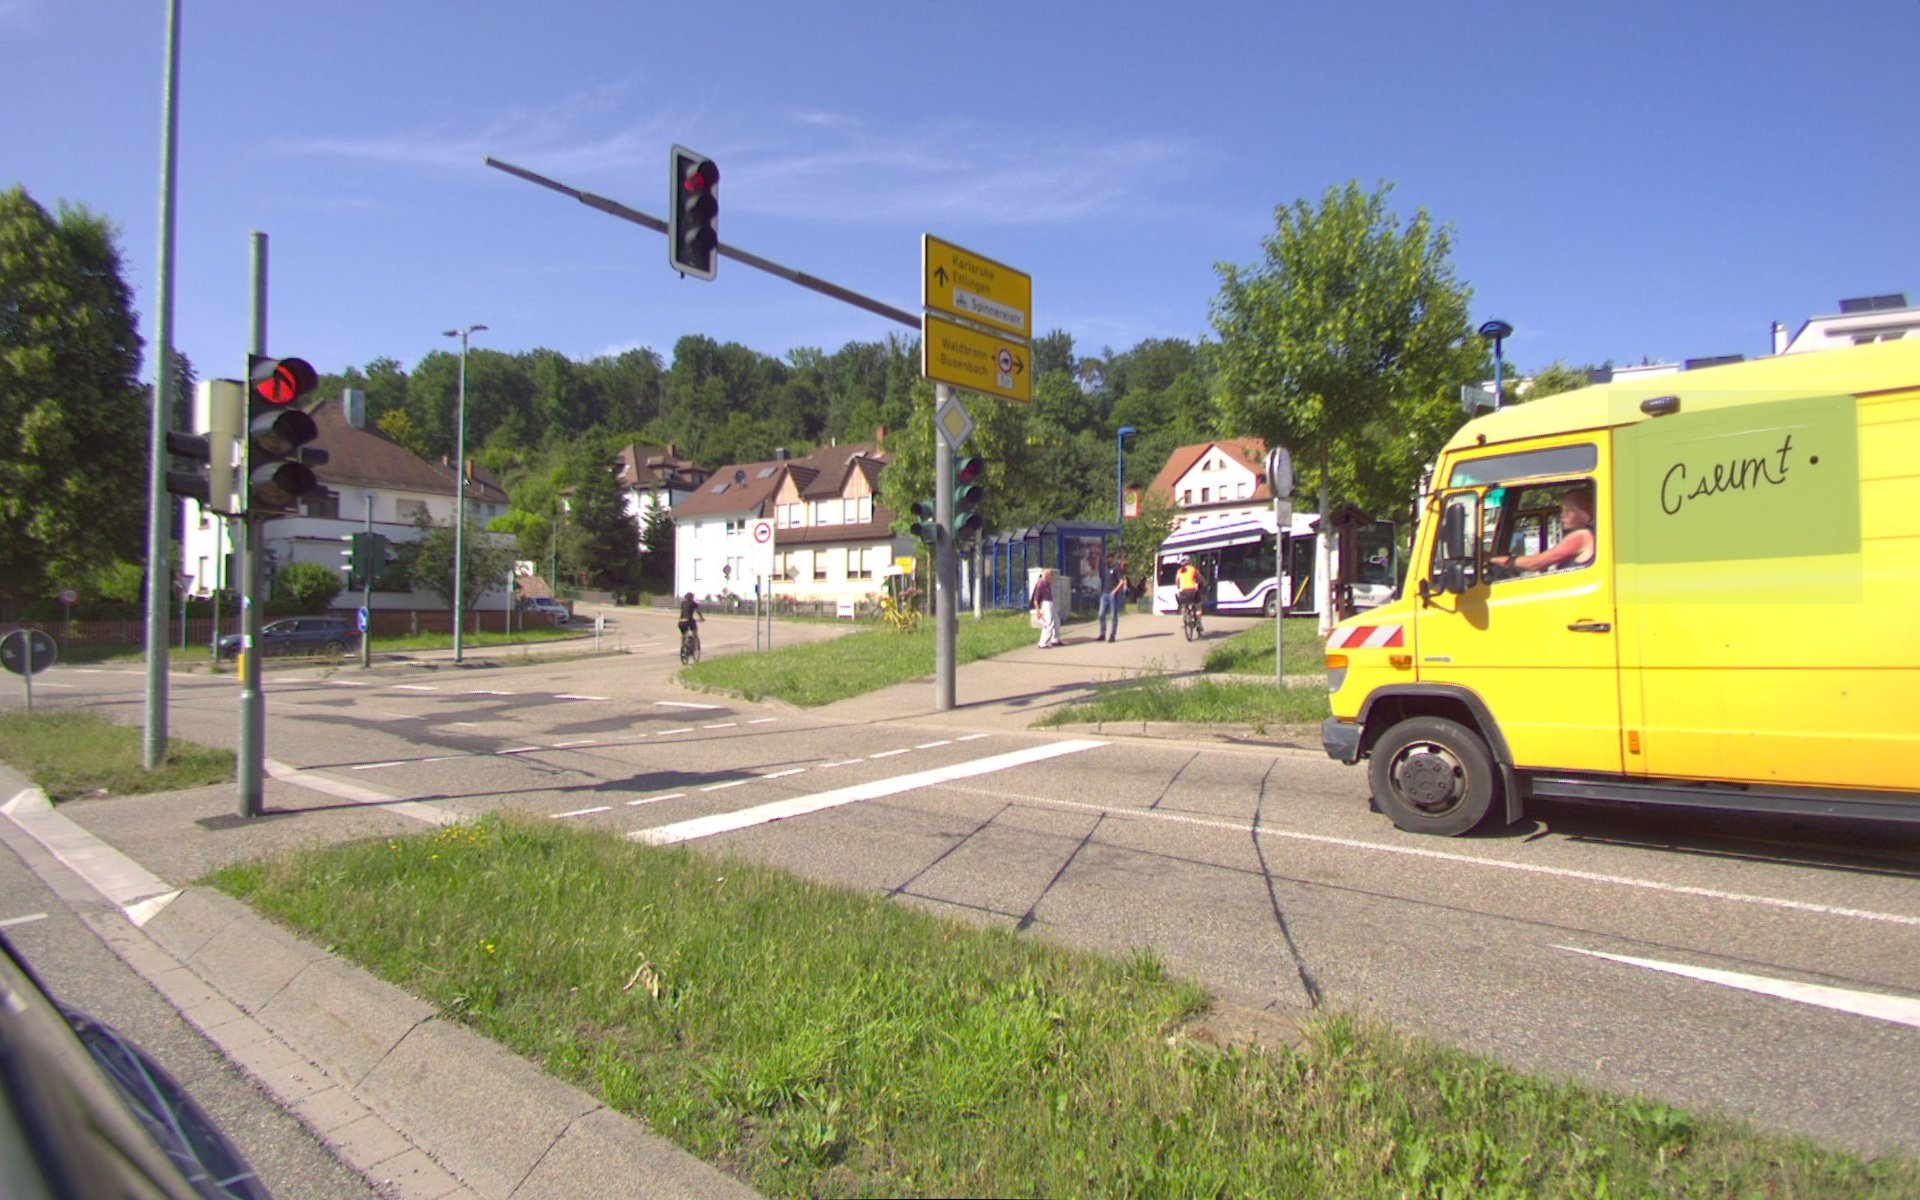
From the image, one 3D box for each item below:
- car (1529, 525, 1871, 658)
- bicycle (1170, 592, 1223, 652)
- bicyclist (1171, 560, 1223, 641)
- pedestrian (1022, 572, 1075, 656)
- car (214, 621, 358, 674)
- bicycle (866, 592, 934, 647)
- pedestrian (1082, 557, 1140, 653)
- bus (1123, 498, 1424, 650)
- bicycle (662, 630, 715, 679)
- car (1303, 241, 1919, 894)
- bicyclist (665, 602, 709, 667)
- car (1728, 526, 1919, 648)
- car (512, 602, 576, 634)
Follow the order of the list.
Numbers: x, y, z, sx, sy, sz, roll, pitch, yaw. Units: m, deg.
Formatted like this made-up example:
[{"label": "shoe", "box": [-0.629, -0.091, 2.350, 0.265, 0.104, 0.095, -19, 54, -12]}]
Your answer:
[{"label": "car", "box": [11.406, -0.164, 15.670, 4.340, 1.709, 2.063, -3, 1, -18]}, {"label": "bicycle", "box": [4.843, 0.425, 20.648, 0.730, 1.072, 1.959, -2, 2, 22]}, {"label": "bicyclist", "box": [4.878, 0.000, 20.797, 0.802, 1.576, 0.950, -3, 3, 23]}, {"label": "pedestrian", "box": [1.825, 0.291, 20.829, 0.740, 1.690, 0.704, -3, -1, 40]}, {"label": "car", "box": [-22.896, 1.592, 34.556, 3.932, 1.519, 2.006, -3, 0, -32]}, {"label": "bicycle", "box": [-1.537, 0.513, 25.837, 0.611, 1.264, 1.758, -6, 1, -44]}, {"label": "pedestrian", "box": [3.143, 0.106, 21.059, 0.856, 1.922, 0.732, -2, 2, 38]}, {"label": "bus", "box": [8.933, -0.586, 31.545, 2.822, 3.742, 12.251, -3, 0, -14]}, {"label": "bicycle", "box": [-7.320, 1.455, 27.373, 0.725, 1.171, 1.997, -3, 0, 4]}, {"label": "car", "box": [5.500, -0.179, 5.412, 6.462, 3.033, 2.442, -2, 0, 41]}, {"label": "bicyclist", "box": [-7.346, 0.913, 27.274, 0.797, 1.703, 0.992, -3, 0, 4]}, {"label": "car", "box": [12.426, -0.218, 13.162, 3.932, 1.392, 1.920, -3, 0, -18]}, {"label": "car", "box": [-23.601, 1.040, 57.308, 1.912, 1.649, 4.002, -3, -1, -45]}]
